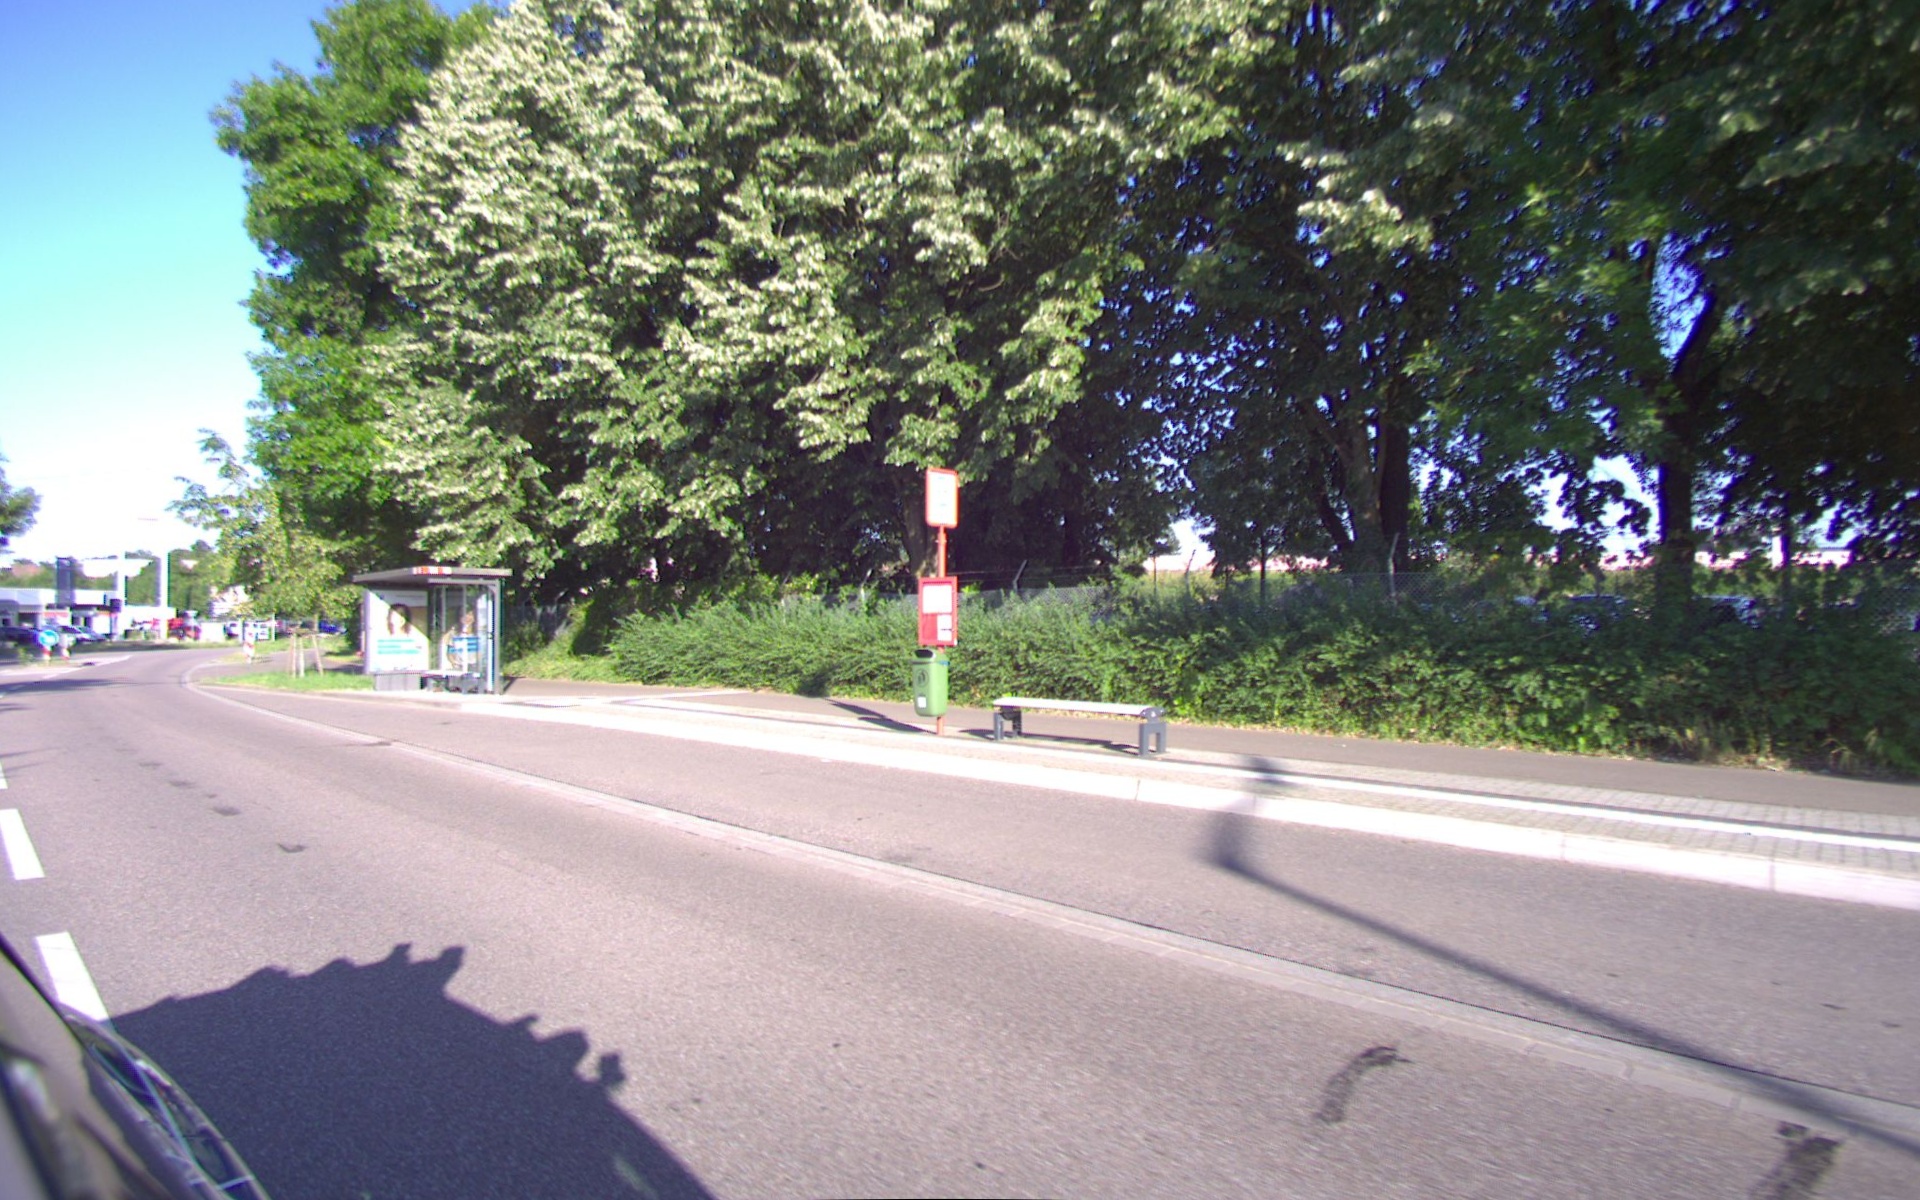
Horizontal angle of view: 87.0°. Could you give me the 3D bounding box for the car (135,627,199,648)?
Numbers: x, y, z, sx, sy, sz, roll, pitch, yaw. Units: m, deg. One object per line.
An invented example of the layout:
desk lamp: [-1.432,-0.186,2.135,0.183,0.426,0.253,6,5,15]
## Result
car: [-78.667,3.687,100.459,4.788,2.029,2.295,-1,-2,7]

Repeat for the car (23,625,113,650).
car: [-75.404,3.170,85.606,5.205,2.029,2.410,0,-2,-9]
